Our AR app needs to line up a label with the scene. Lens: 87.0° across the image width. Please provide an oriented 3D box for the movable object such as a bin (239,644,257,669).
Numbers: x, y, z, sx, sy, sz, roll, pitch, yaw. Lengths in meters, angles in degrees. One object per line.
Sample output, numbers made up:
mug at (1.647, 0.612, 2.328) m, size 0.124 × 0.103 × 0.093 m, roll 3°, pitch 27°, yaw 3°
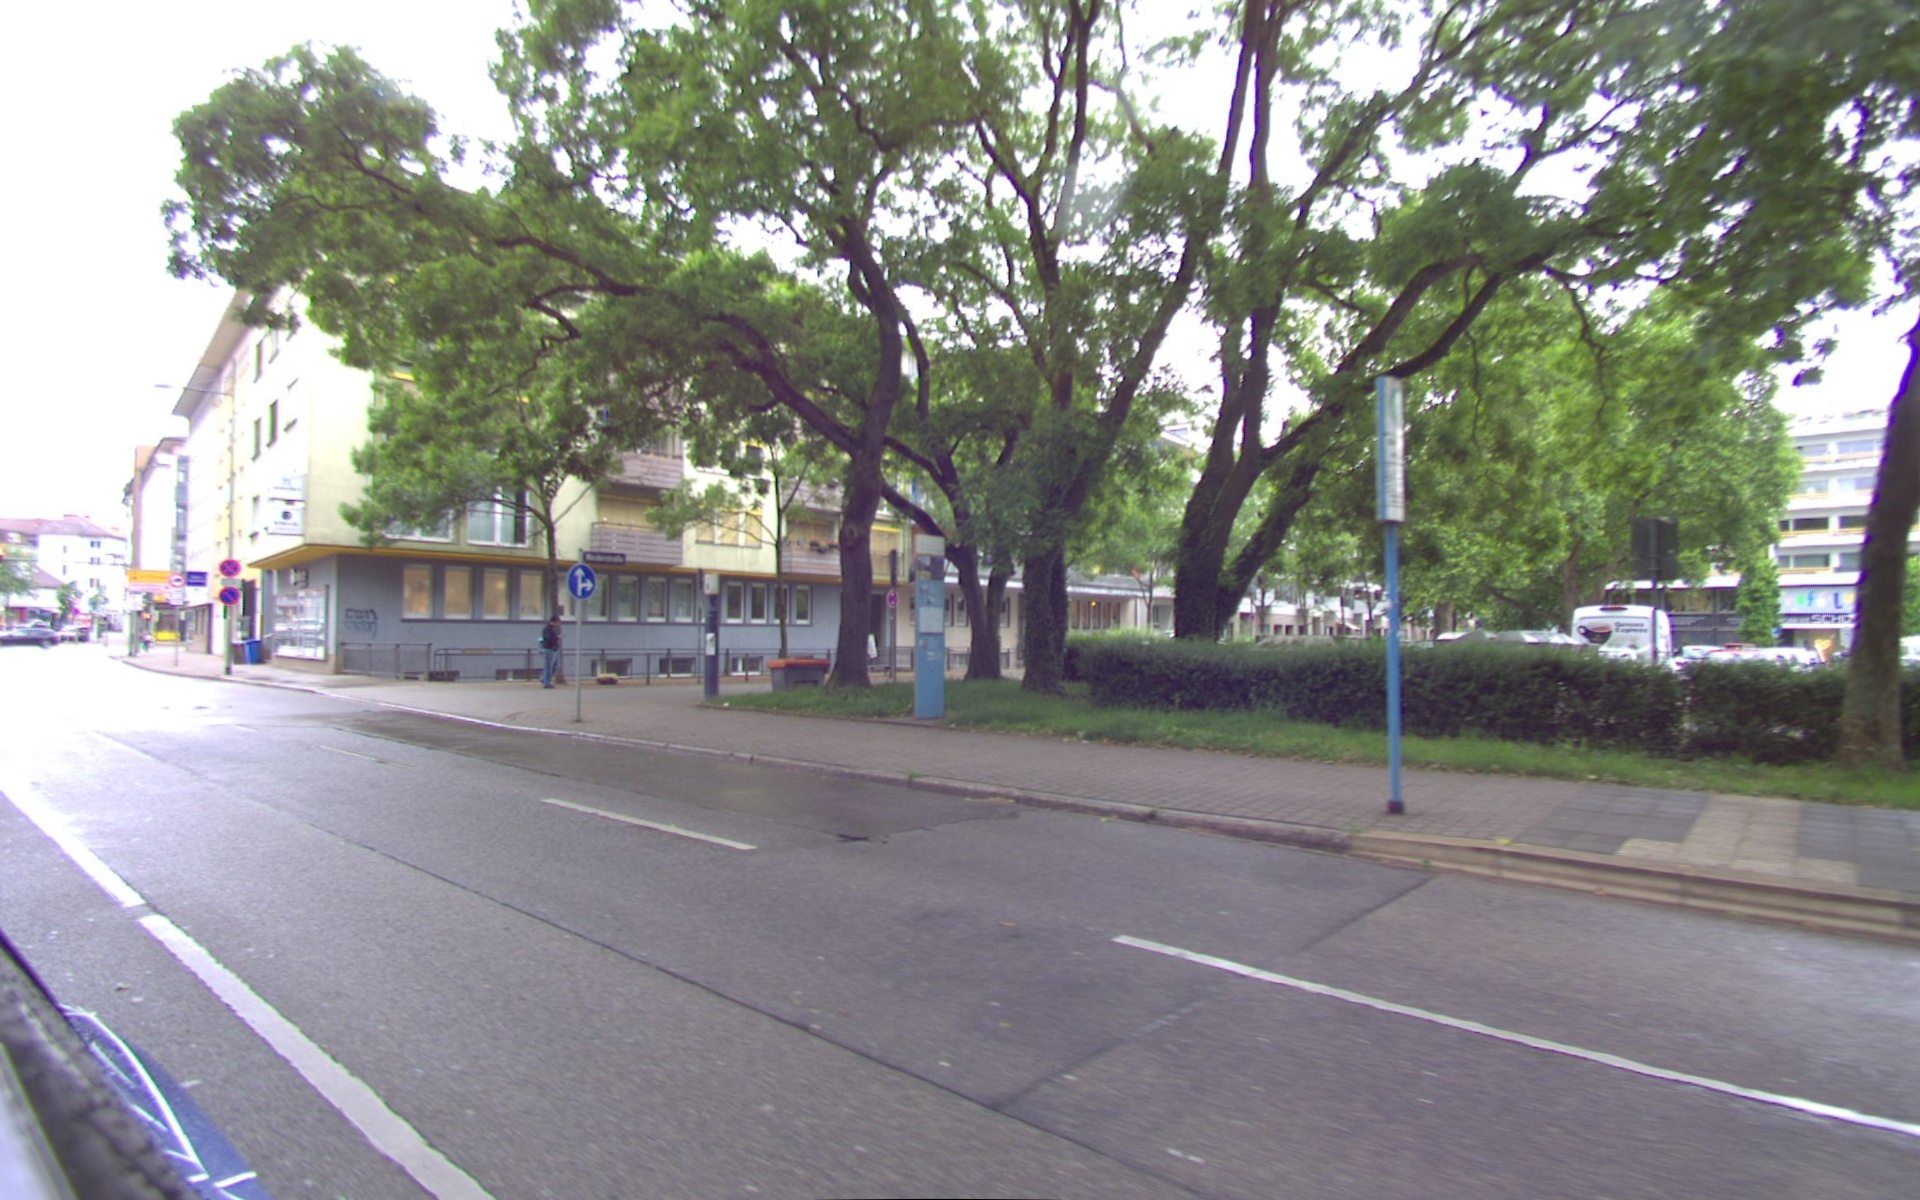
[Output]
movable object such as a bin at (-28.502, 2.245, 40.500) m, size 0.522 × 0.968 × 0.435 m, roll -3°, pitch 1°, yaw -42°

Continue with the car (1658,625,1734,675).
car at (25.565, 1.675, 35.100) m, size 1.895 × 1.497 × 3.948 m, roll -1°, pitch 0°, yaw 39°

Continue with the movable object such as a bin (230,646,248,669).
movable object such as a bin at (-29.044, 2.317, 40.756) m, size 0.522 × 0.902 × 0.435 m, roll -3°, pitch 1°, yaw -42°

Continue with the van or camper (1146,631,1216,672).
van or camper at (11.905, 2.749, 54.266) m, size 1.825 × 2.029 × 4.576 m, roll 1°, pitch -2°, yaw 38°

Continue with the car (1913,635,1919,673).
car at (41.839, 2.325, 42.813) m, size 1.895 × 1.497 × 3.948 m, roll -1°, pitch 0°, yaw 39°

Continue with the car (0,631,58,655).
car at (-65.733, 2.980, 70.286) m, size 1.758 × 1.580 × 4.499 m, roll -2°, pitch -1°, yaw 44°

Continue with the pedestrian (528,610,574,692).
pedestrian at (-10.323, 1.281, 25.532) m, size 0.773 × 2.029 × 0.750 m, roll 0°, pitch -2°, yaw 9°

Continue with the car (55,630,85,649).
car at (-80.705, 3.576, 91.820) m, size 1.807 × 1.634 × 4.007 m, roll 2°, pitch -3°, yaw -39°

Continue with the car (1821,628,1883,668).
car at (43.409, 2.287, 49.335) m, size 2.097 × 1.735 × 3.948 m, roll -1°, pitch 0°, yaw 39°

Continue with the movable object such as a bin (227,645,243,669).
movable object such as a bin at (-29.696, 2.336, 41.467) m, size 0.458 × 0.935 × 0.429 m, roll -3°, pitch 0°, yaw -42°

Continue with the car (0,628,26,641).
car at (-127.919, 4.667, 136.614) m, size 1.722 × 1.778 × 4.065 m, roll 3°, pitch -4°, yaw -31°

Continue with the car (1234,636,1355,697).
car at (9.710, 1.866, 29.235) m, size 1.863 × 1.638 × 3.995 m, roll -2°, pitch -3°, yaw 42°

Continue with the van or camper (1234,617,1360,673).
van or camper at (15.952, 2.092, 47.489) m, size 2.561 × 2.420 × 8.535 m, roll -2°, pitch -3°, yaw 41°

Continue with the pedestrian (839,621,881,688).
pedestrian at (-2.962, 1.594, 30.009) m, size 0.906 × 1.939 × 0.820 m, roll 2°, pitch -3°, yaw -43°

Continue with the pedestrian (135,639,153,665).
pedestrian at (-51.456, 3.285, 63.796) m, size 0.773 × 1.600 × 0.675 m, roll -1°, pitch -1°, yaw -29°

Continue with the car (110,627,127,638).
car at (-125.147, 4.802, 150.521) m, size 1.567 × 1.539 × 3.496 m, roll 2°, pitch -3°, yaw -36°

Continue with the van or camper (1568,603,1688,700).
van or camper at (18.399, 1.380, 27.809) m, size 2.099 × 2.450 × 4.280 m, roll -2°, pitch -3°, yaw 42°

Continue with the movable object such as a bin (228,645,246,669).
movable object such as a bin at (-29.356, 2.312, 41.109) m, size 0.521 × 0.935 × 0.426 m, roll -3°, pitch 1°, yaw -42°
